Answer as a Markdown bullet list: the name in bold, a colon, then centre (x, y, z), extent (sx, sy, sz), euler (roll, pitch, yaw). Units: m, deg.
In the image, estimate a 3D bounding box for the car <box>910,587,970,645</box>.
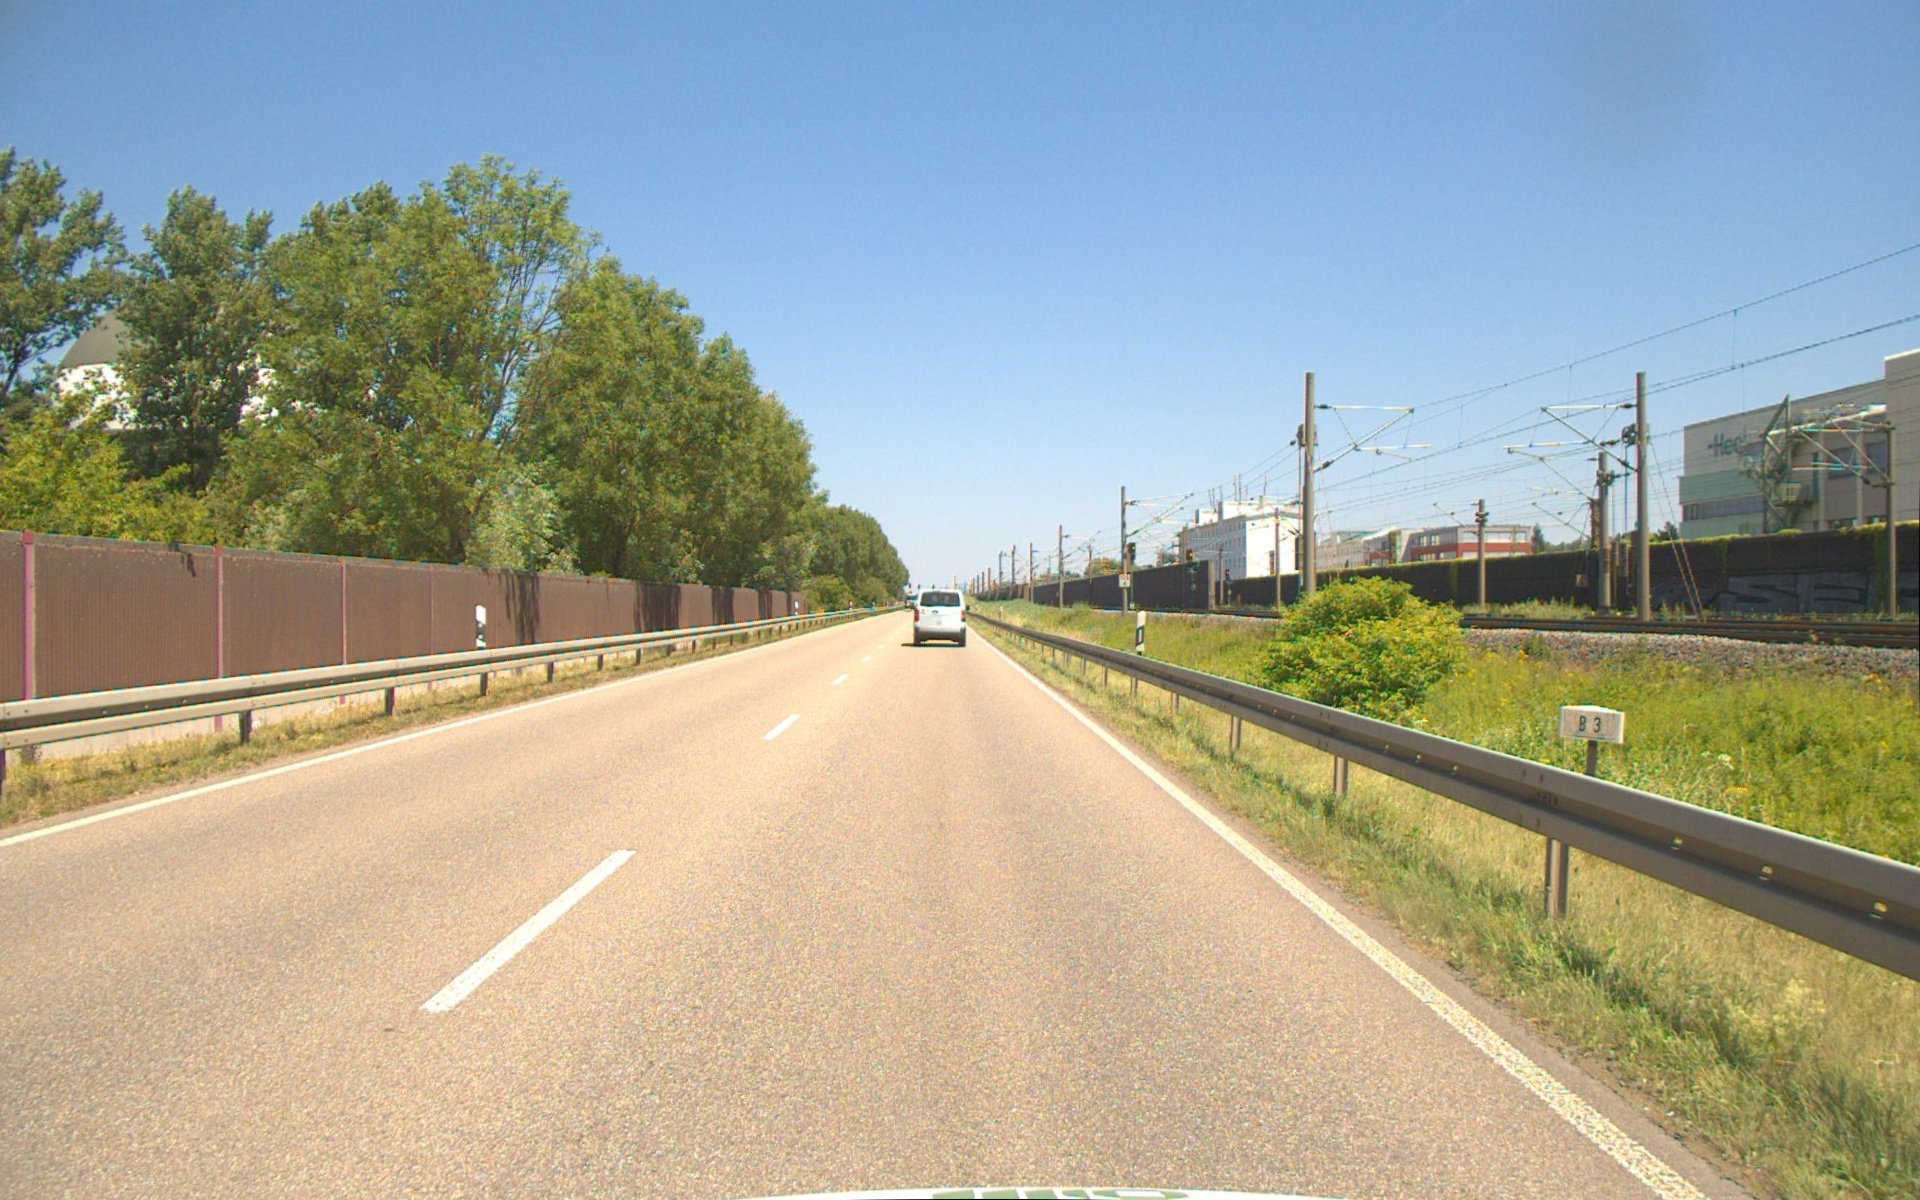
- **car**: centre (-0.697, 0.548, 57.791), extent (1.953, 1.882, 3.999), euler (2, 0, -1)
